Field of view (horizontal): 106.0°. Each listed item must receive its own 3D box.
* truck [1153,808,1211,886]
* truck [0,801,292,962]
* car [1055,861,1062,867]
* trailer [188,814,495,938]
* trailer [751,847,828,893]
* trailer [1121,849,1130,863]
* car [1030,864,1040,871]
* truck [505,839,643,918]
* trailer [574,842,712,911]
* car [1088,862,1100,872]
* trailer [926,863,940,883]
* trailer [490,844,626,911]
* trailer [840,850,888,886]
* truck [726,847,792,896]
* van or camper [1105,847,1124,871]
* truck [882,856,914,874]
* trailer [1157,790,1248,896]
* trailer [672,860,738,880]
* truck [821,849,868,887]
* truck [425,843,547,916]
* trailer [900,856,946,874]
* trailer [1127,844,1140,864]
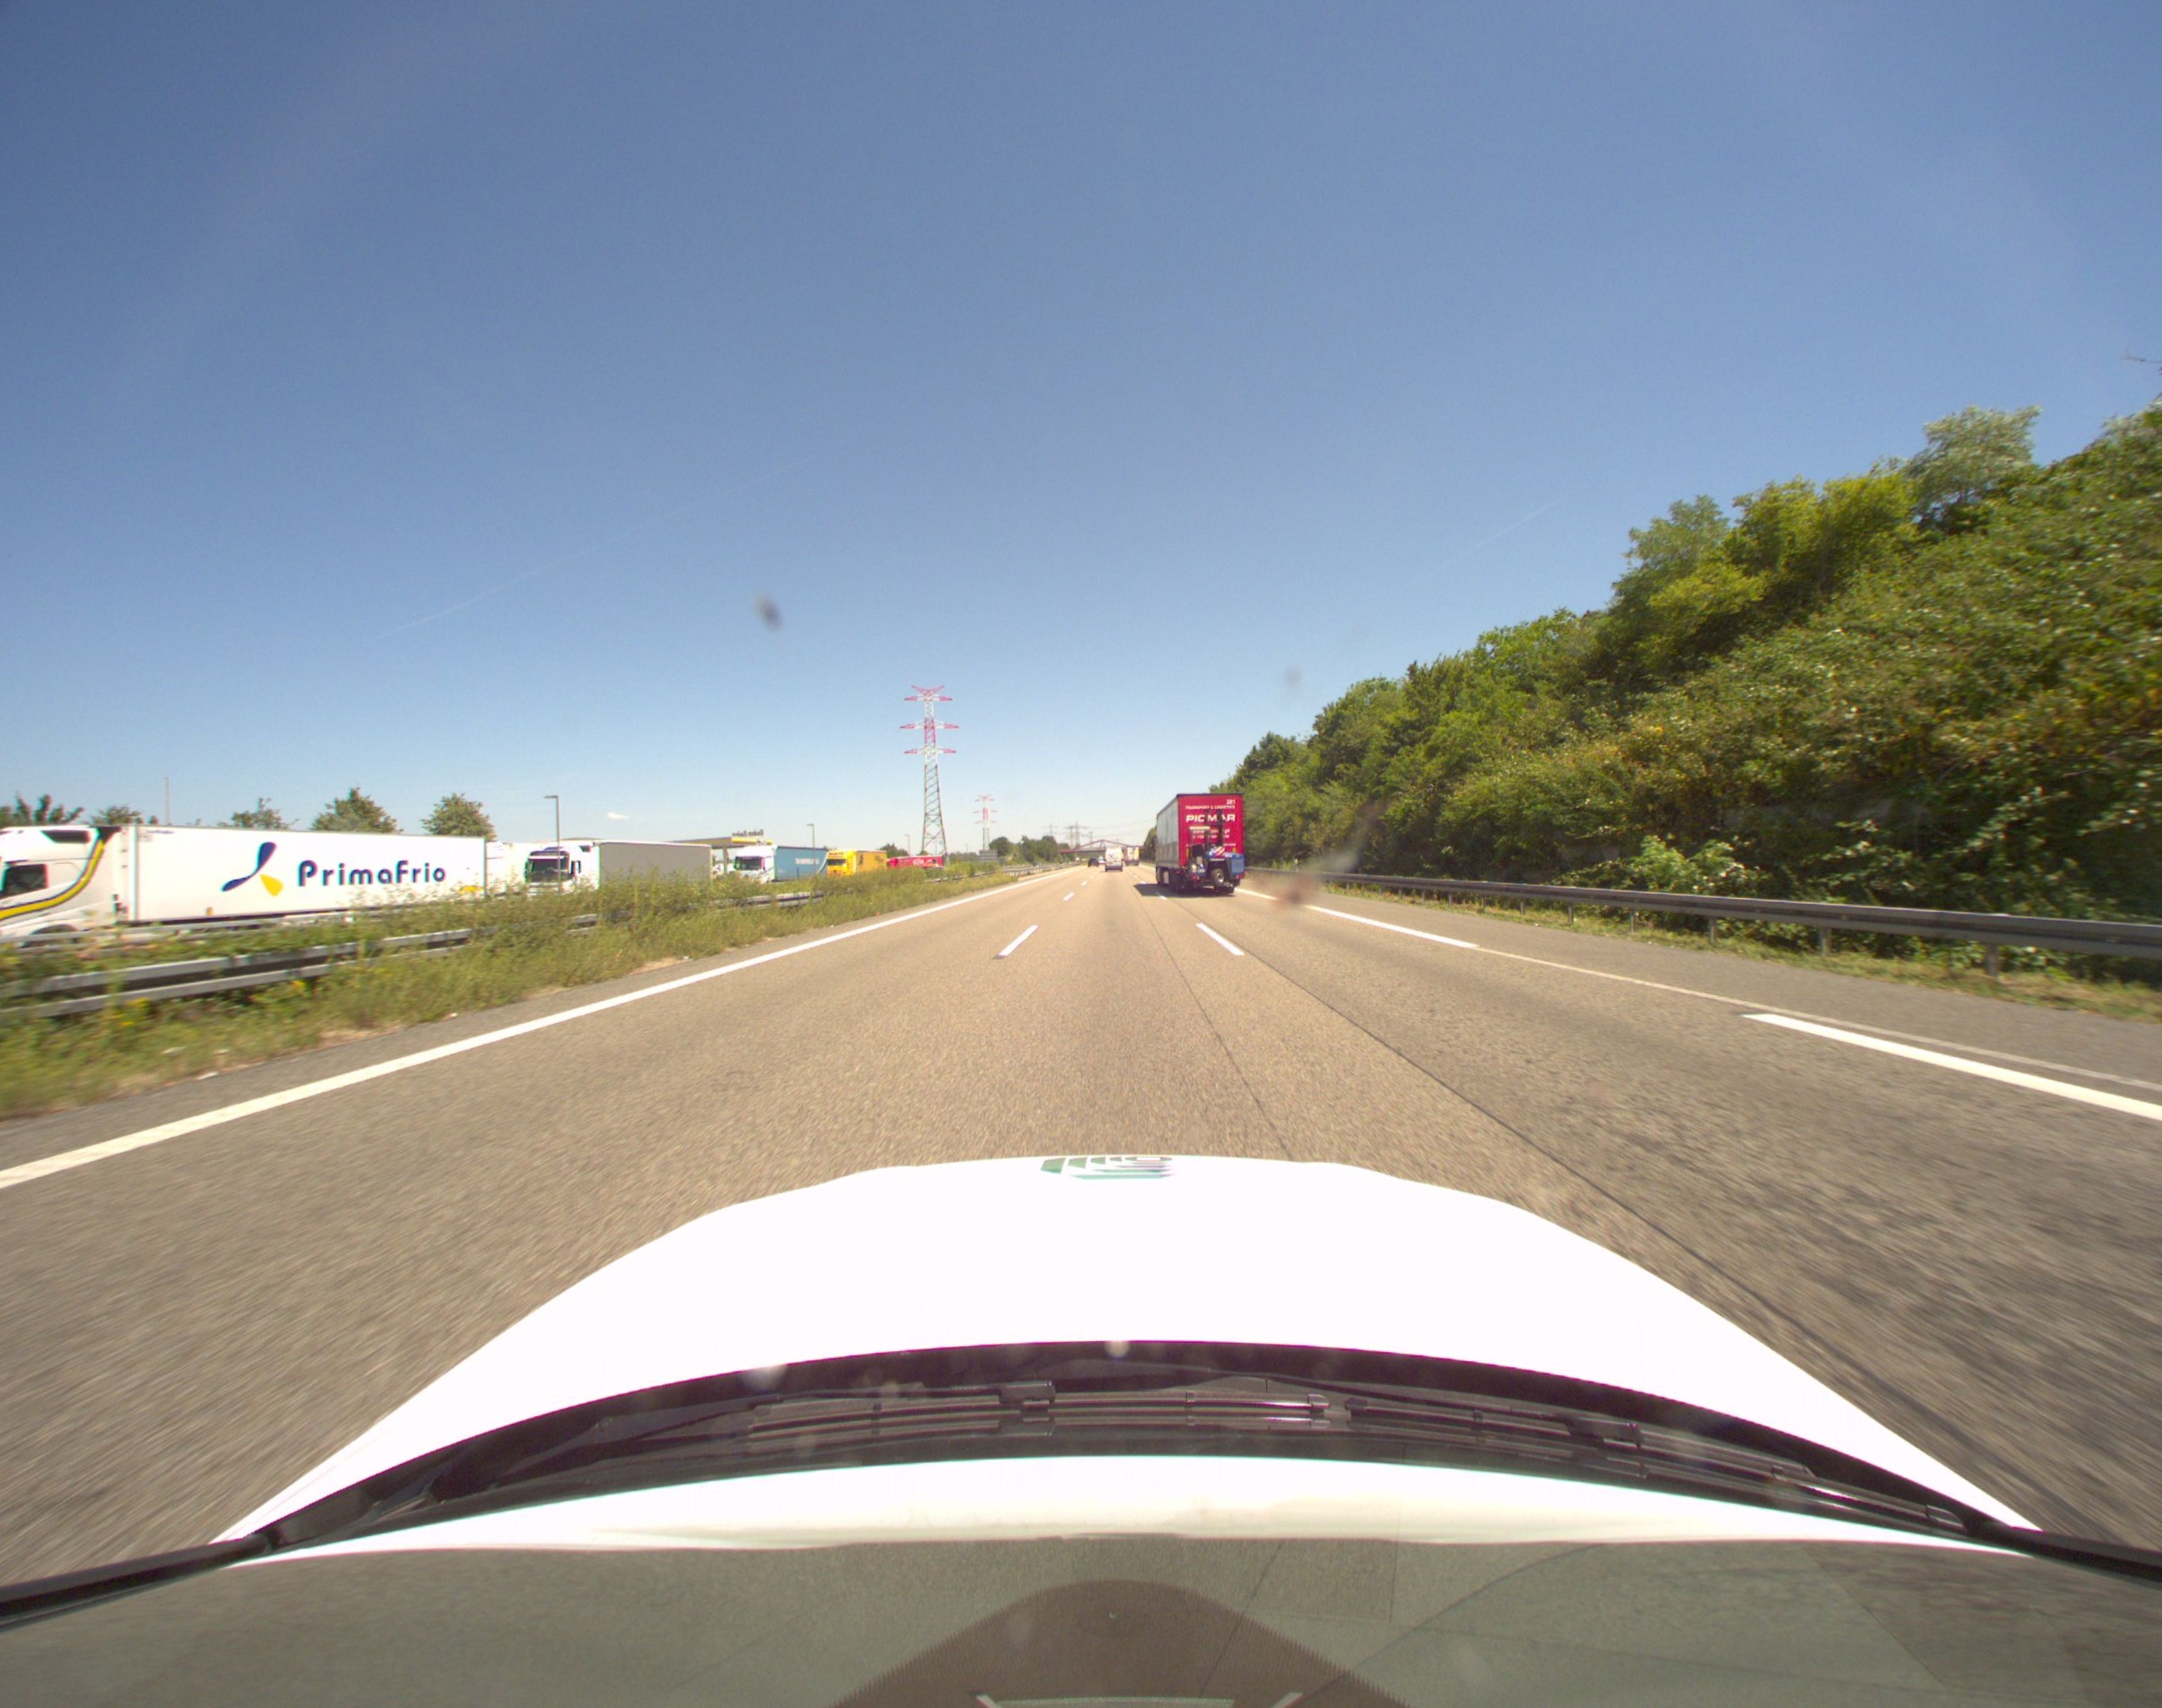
[{"bbox_3d":[5.451,-0.324,44.889,2.490,3.920,7.099,-1,-1,2],"label":"truck"},{"bbox_3d":[-29.277,0.751,24.802,2.571,4.188,7.939,-1,-1,2],"label":"truck"},{"bbox_3d":[-6.686,2.991,243.064,1.965,1.647,5.018,0,0,2],"label":"car"},{"bbox_3d":[-29.032,0.792,33.081,2.589,4.219,10.518,0,0,2],"label":"trailer"},{"bbox_3d":[-27.903,1.473,78.708,2.823,4.148,12.086,0,0,1],"label":"trailer"},{"bbox_3d":[12.880,0.567,236.106,2.626,3.897,7.074,0,0,3],"label":"trailer"},{"bbox_3d":[-10.155,2.998,180.281,1.735,1.276,4.320,-5,-1,2],"label":"car"},{"bbox_3d":[-28.877,1.315,46.902,3.106,4.158,7.505,0,0,1],"label":"truck"},{"bbox_3d":[-28.731,1.374,54.329,3.102,4.158,11.016,0,0,1],"label":"trailer"},{"bbox_3d":[2.454,2.480,154.103,1.973,1.817,3.817,0,0,4],"label":"car"},{"bbox_3d":[-17.579,2.256,96.914,1.163,2.369,1.999,-2,-1,2],"label":"trailer"},{"bbox_3d":[-34.099,1.445,53.705,2.685,4.006,9.311,0,0,2],"label":"trailer"},{"bbox_3d":[-26.809,1.631,101.226,2.823,4.220,11.085,0,0,1],"label":"trailer"},{"bbox_3d":[-28.042,1.441,71.301,2.839,4.073,7.090,0,-1,1],"label":"truck"},{"bbox_3d":[3.942,0.559,95.604,2.221,2.782,5.426,0,0,2],"label":"van or camper"},{"bbox_3d":[-41.181,2.494,183.221,3.087,4.049,6.687,-1,-1,36],"label":"truck"},{"bbox_3d":[5.200,-0.367,37.465,2.481,3.909,14.251,-1,0,2],"label":"trailer"},{"bbox_3d":[-69.163,2.957,150.199,2.964,3.521,11.133,0,-1,32],"label":"trailer"},{"bbox_3d":[-26.996,1.586,93.290,2.823,4.200,7.920,0,0,1],"label":"truck"},{"bbox_3d":[-34.316,1.399,47.260,2.685,4.006,5.746,0,-1,2],"label":"truck"},{"bbox_3d":[-36.704,2.537,189.649,3.090,4.055,11.385,-1,-1,36],"label":"trailer"},{"bbox_3d":[10.977,-0.003,171.313,2.626,4.060,12.376,0,0,3],"label":"trailer"}]
